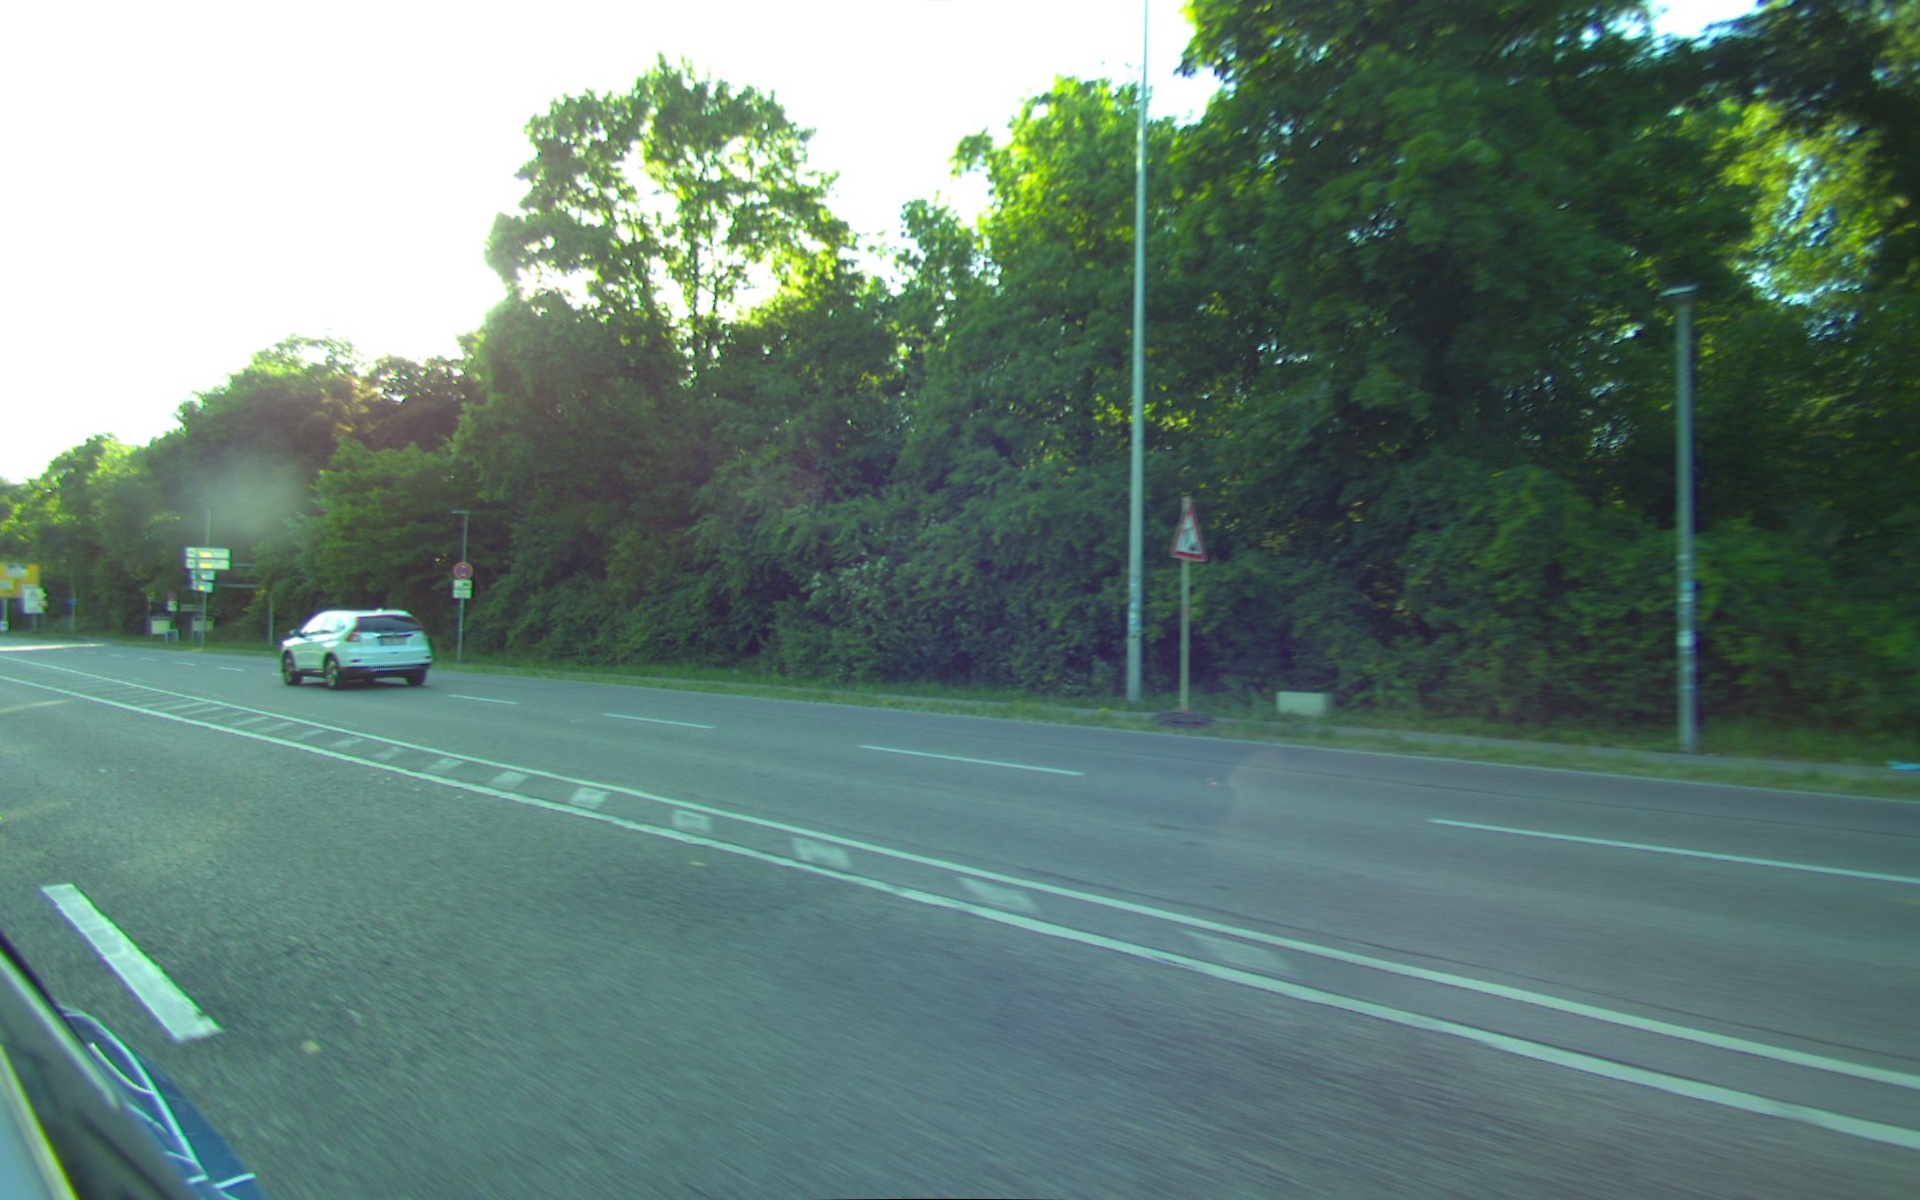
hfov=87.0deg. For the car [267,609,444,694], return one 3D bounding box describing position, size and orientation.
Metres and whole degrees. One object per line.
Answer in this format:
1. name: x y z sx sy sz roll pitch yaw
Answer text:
1. car: -13.440 1.076 22.397 4.729 1.676 1.889 -1 -2 40
